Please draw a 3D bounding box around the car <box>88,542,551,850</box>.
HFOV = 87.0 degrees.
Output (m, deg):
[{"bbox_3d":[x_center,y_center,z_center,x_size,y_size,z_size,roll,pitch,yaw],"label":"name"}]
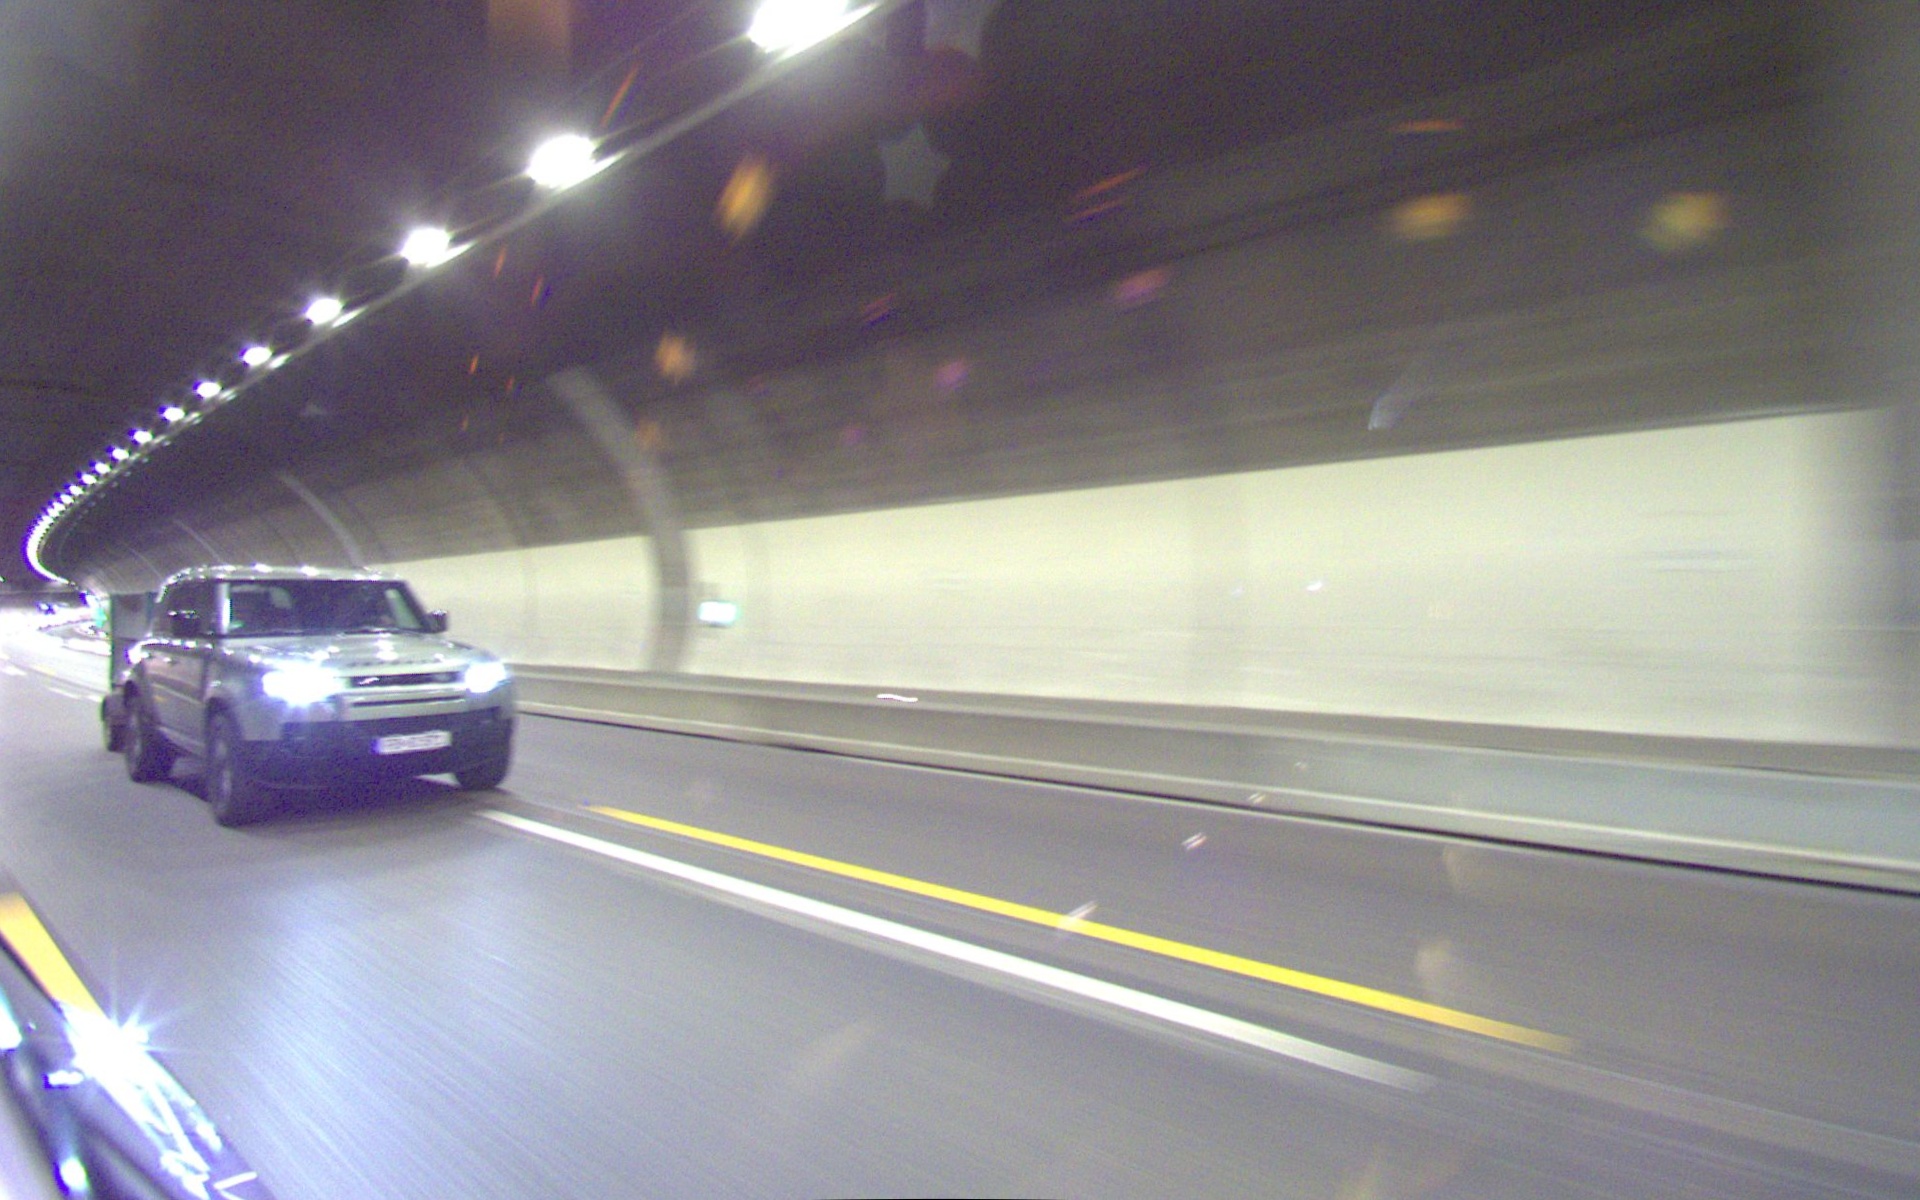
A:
[{"bbox_3d":[-5.837,0.660,8.850,5.451,1.909,1.972,-1,-2,42],"label":"car"}]
